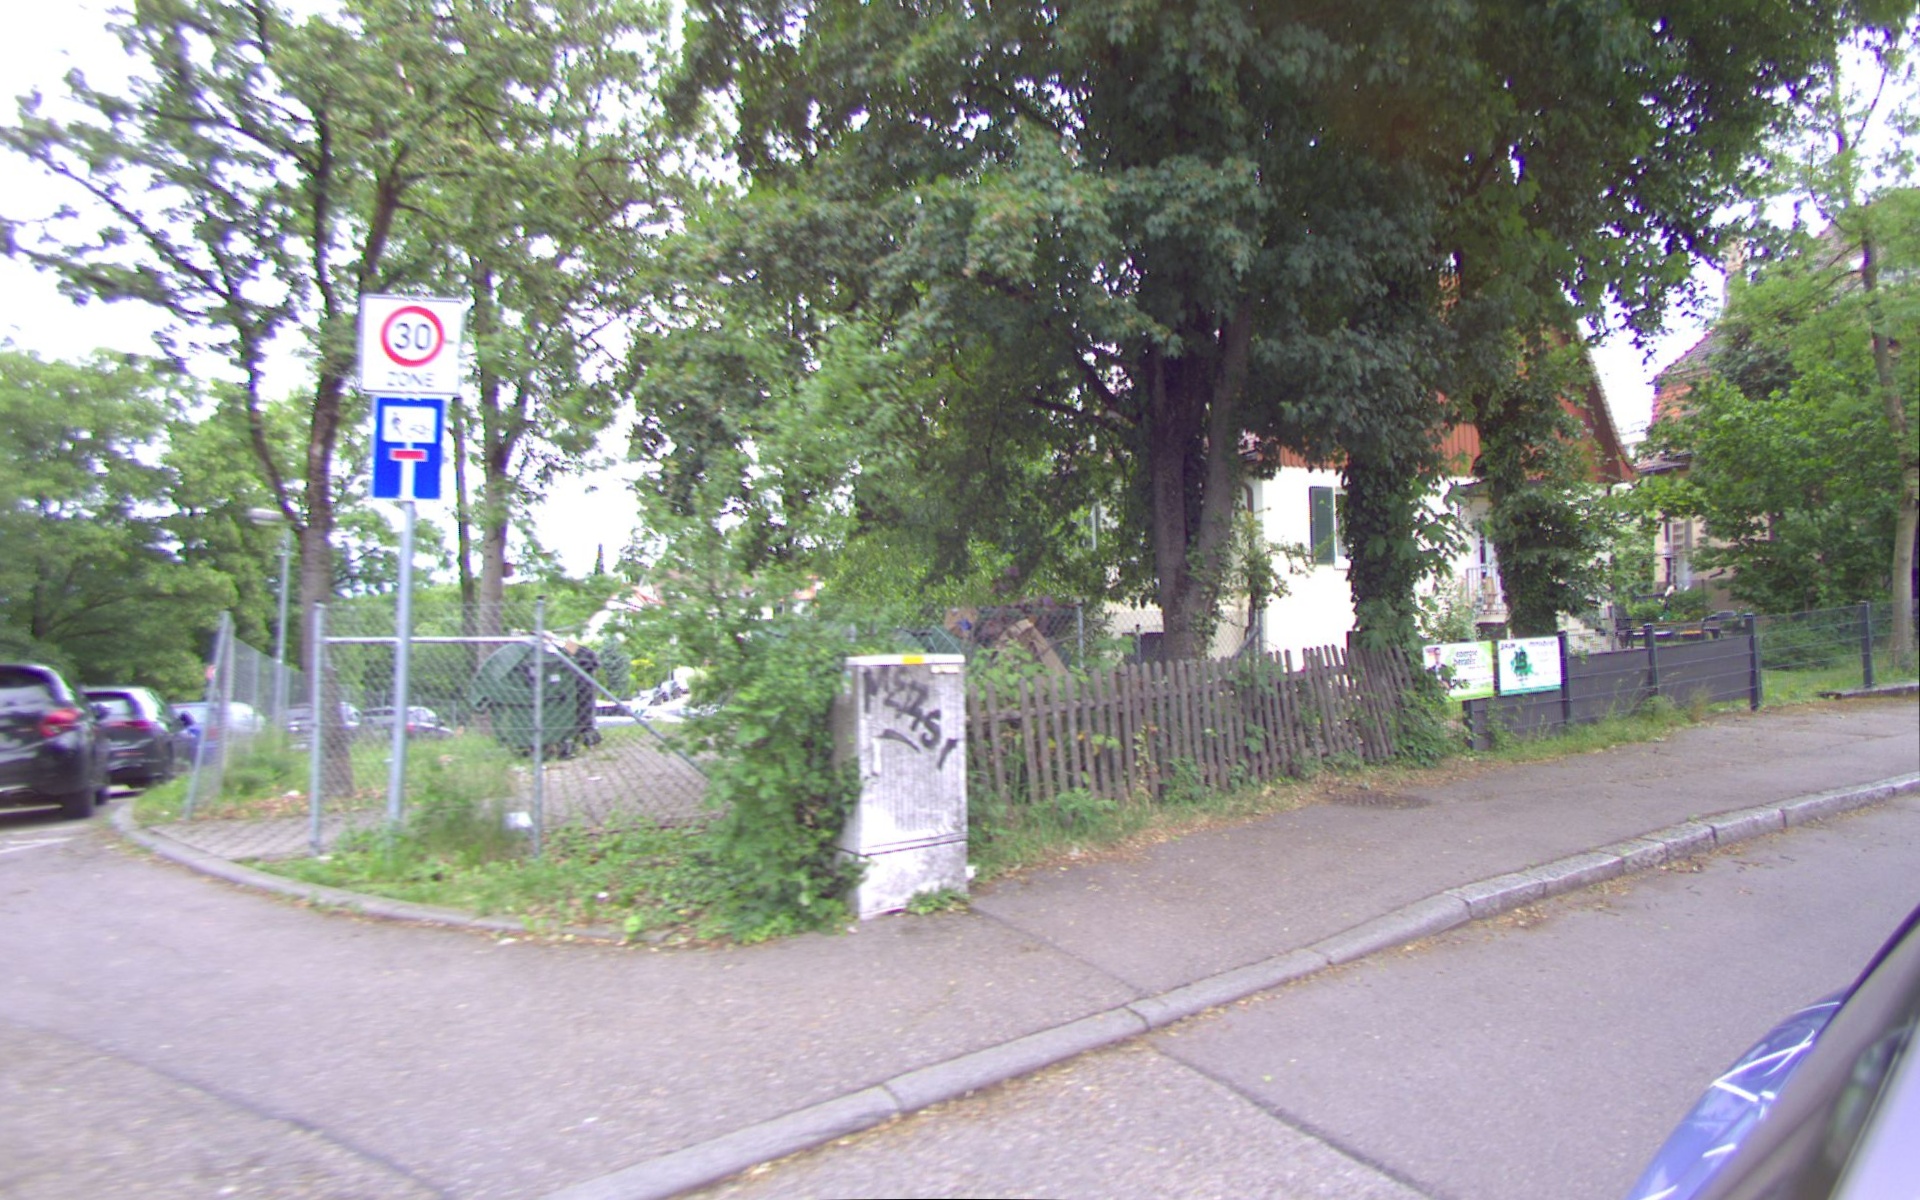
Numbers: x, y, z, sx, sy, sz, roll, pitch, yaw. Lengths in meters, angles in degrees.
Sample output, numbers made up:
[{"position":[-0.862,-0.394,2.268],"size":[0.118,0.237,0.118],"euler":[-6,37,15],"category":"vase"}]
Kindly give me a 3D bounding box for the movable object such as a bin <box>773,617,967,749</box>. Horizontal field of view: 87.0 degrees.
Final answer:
[{"position":[-1.426,1.150,15.316],"size":[2.163,1.735,2.504],"euler":[-1,-1,-26],"category":"movable object such as a bin"}]

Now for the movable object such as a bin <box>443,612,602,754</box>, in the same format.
[{"position":[-5.349,0.937,12.332],"size":[1.642,1.567,1.427],"euler":[0,-1,-29],"category":"movable object such as a bin"}]

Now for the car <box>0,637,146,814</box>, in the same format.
[{"position":[-9.146,1.232,9.703],"size":[1.797,1.417,3.669],"euler":[-2,-5,-35],"category":"car"}]

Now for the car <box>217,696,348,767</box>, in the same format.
[{"position":[-15.544,2.973,23.391],"size":[1.518,1.346,3.605],"euler":[-3,-4,-17],"category":"car"}]

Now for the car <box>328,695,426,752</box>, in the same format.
[{"position":[-16.384,3.437,28.608],"size":[1.518,1.346,3.605],"euler":[-3,-4,-16],"category":"car"}]

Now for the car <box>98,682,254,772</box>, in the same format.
[{"position":[-14.230,2.280,18.557],"size":[1.519,1.346,3.603],"euler":[-2,-4,-26],"category":"car"}]

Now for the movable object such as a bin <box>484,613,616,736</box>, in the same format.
[{"position":[-5.993,0.981,14.652],"size":[1.418,1.567,2.899],"euler":[0,-1,-29],"category":"movable object such as a bin"}]

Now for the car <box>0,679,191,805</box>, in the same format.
[{"position":[-11.455,1.842,13.531],"size":[1.520,1.346,3.600],"euler":[-2,-5,-32],"category":"car"}]

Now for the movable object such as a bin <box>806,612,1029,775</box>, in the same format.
[{"position":[-0.599,1.086,12.951],"size":[2.163,1.810,2.113],"euler":[-1,-1,-26],"category":"movable object such as a bin"}]
